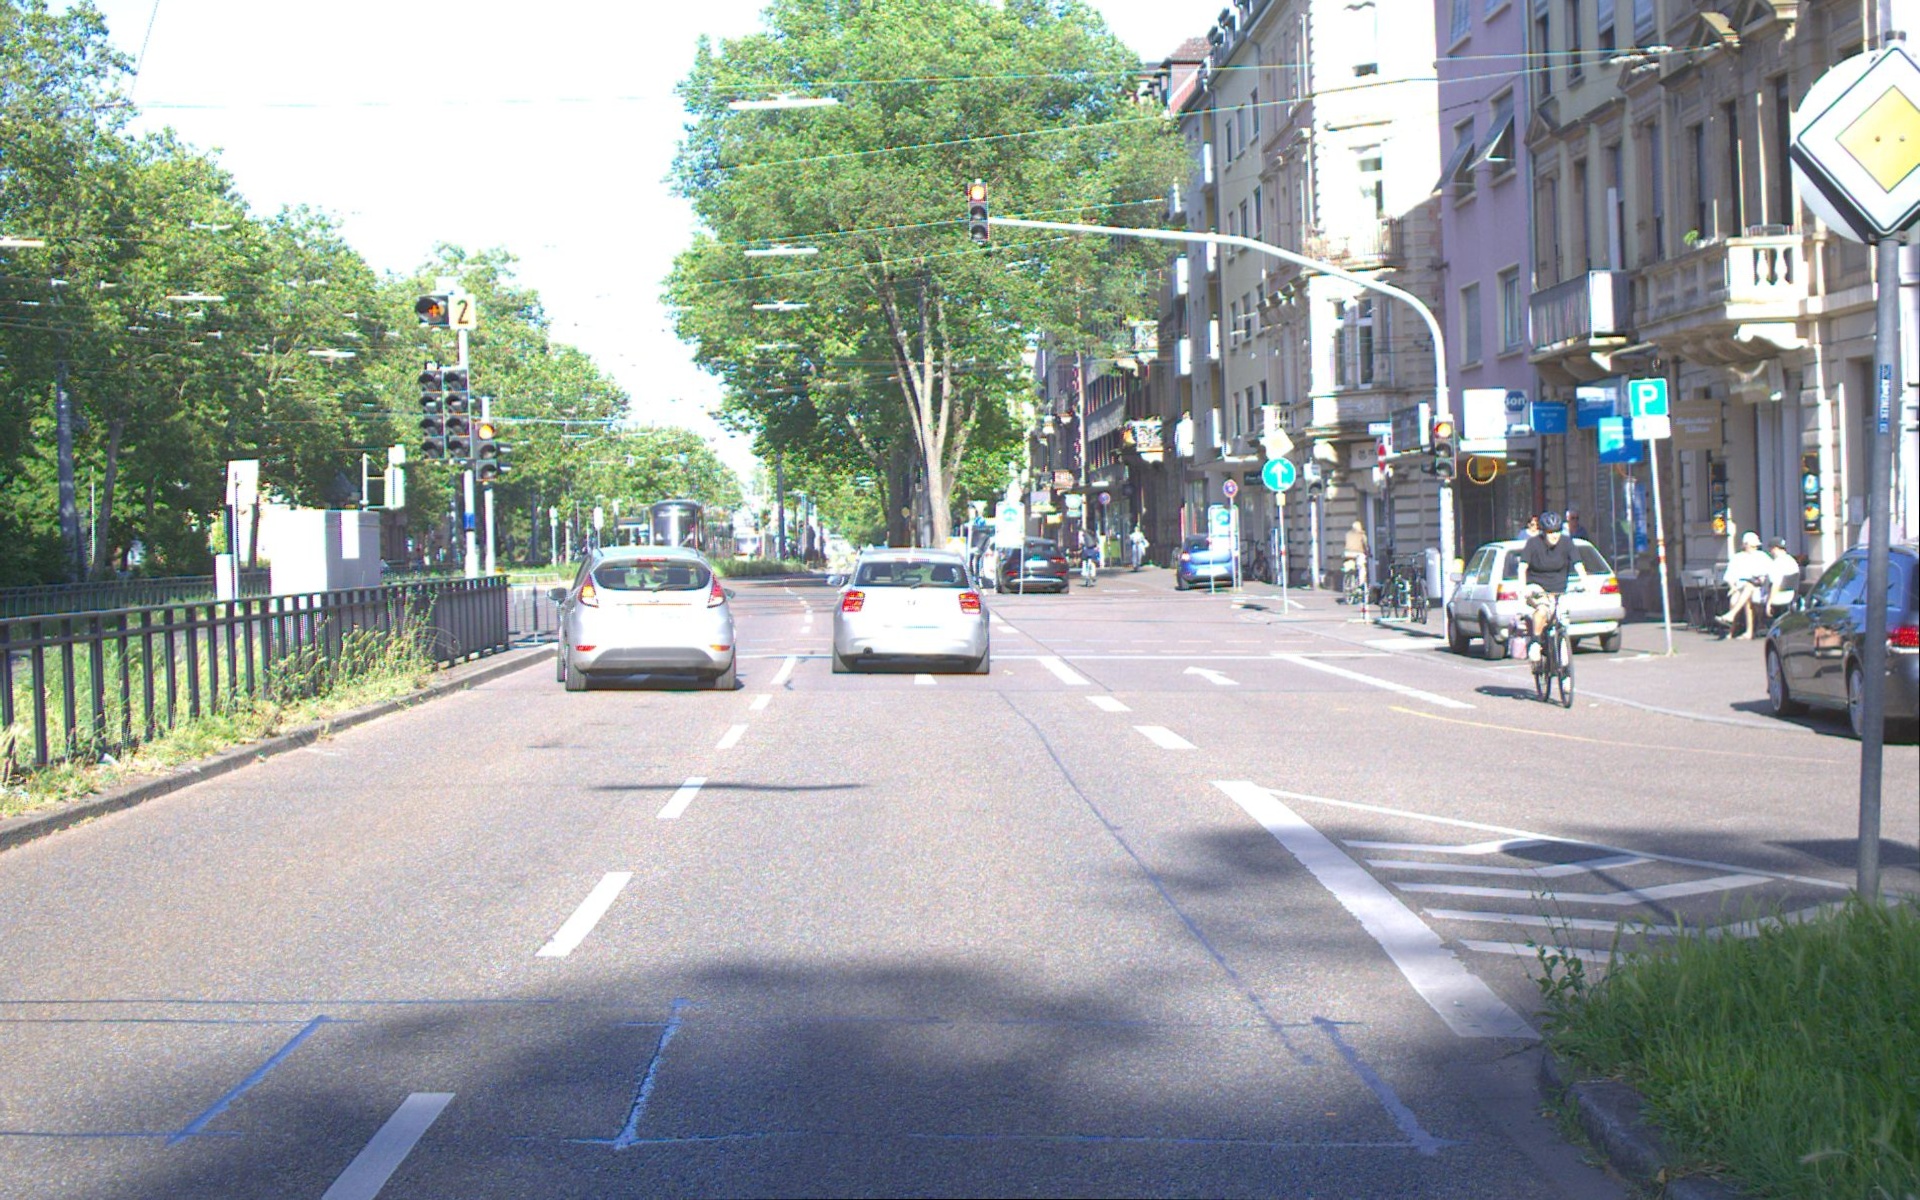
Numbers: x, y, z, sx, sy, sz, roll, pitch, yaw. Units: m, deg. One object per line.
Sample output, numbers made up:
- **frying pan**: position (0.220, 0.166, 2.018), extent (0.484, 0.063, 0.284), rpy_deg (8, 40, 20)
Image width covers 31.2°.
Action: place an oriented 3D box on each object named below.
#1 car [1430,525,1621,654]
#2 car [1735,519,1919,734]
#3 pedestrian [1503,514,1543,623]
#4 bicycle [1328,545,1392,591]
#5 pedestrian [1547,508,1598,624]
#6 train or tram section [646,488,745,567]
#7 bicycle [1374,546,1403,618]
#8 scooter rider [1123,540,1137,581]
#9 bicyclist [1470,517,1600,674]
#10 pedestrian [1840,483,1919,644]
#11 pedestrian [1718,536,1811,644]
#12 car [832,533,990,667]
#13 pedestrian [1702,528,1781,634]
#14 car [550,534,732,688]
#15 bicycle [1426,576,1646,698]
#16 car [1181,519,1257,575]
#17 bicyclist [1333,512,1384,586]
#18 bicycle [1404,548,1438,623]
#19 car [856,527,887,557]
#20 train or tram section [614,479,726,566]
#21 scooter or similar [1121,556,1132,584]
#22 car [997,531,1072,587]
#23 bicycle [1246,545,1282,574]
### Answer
- **car**: position (6.977, -0.172, 42.733), extent (1.562, 1.411, 4.004), rpy_deg (-5, 1, -1)
- **car**: position (7.726, 0.132, 27.627), extent (1.833, 1.482, 4.734), rpy_deg (-4, 1, 0)
- **pedestrian**: position (8.898, -0.495, 54.362), extent (0.549, 1.702, 0.388), rpy_deg (-1, 1, 2)
- **bicycle**: position (8.186, -0.654, 70.265), extent (0.654, 0.900, 1.335), rpy_deg (0, 2, 41)
- **pedestrian**: position (9.656, -0.541, 54.199), extent (0.673, 1.800, 0.531), rpy_deg (-2, 1, -1)
- **train or tram section**: position (-13.723, -3.812, 180.326), extent (4.005, 3.852, 17.490), rpy_deg (-1, 1, -1)
- **bicycle**: position (6.958, -0.304, 55.876), extent (0.414, 1.137, 1.809), rpy_deg (-1, 1, 6)
- **scooter rider**: position (6.172, -1.433, 125.001), extent (0.465, 1.500, 0.811), rpy_deg (-1, -1, 1)
- **bicyclist**: position (5.414, -0.050, 32.398), extent (0.745, 1.457, 0.951), rpy_deg (0, 1, -44)
- **pedestrian**: position (10.179, -0.406, 37.845), extent (0.760, 1.749, 0.513), rpy_deg (-2, 1, -21)
- **pedestrian**: position (9.785, -0.126, 41.824), extent (0.900, 1.277, 0.656), rpy_deg (-2, 1, -5)
- **car**: position (-0.572, -0.037, 40.007), extent (1.740, 1.462, 4.000), rpy_deg (0, 1, -1)
- **pedestrian**: position (9.653, -0.242, 42.491), extent (0.797, 1.277, 0.608), rpy_deg (-1, 1, -2)
- **car**: position (-3.332, 0.070, 35.420), extent (1.609, 1.462, 3.891), rpy_deg (-1, 1, -9)
- **bicycle**: position (5.421, 0.339, 32.436), extent (0.757, 1.098, 1.952), rpy_deg (-3, 2, -44)
- **car**: position (7.129, -1.464, 94.873), extent (1.735, 1.514, 3.637), rpy_deg (0, 1, -1)
- **bicyclist**: position (8.146, -1.043, 70.226), extent (0.548, 1.497, 0.959), rpy_deg (-1, 1, 41)
- **bicycle**: position (7.403, -0.244, 55.229), extent (0.448, 1.155, 1.758), rpy_deg (-1, 1, 5)
- **car**: position (-6.090, -4.021, 237.362), extent (1.993, 2.007, 4.000), rpy_deg (-1, 1, -1)
- **train or tram section**: position (-13.599, -3.652, 162.917), extent (3.969, 3.852, 17.490), rpy_deg (-1, 1, -1)
- **scooter or similar**: position (6.066, -1.079, 125.147), extent (0.337, 0.984, 1.284), rpy_deg (-1, 2, 1)
- **car**: position (1.941, -1.098, 90.541), extent (1.735, 1.428, 3.678), rpy_deg (0, 1, -2)
- **bicycle**: position (8.553, -1.143, 96.818), extent (0.754, 0.768, 1.945), rpy_deg (-1, 1, -2)
